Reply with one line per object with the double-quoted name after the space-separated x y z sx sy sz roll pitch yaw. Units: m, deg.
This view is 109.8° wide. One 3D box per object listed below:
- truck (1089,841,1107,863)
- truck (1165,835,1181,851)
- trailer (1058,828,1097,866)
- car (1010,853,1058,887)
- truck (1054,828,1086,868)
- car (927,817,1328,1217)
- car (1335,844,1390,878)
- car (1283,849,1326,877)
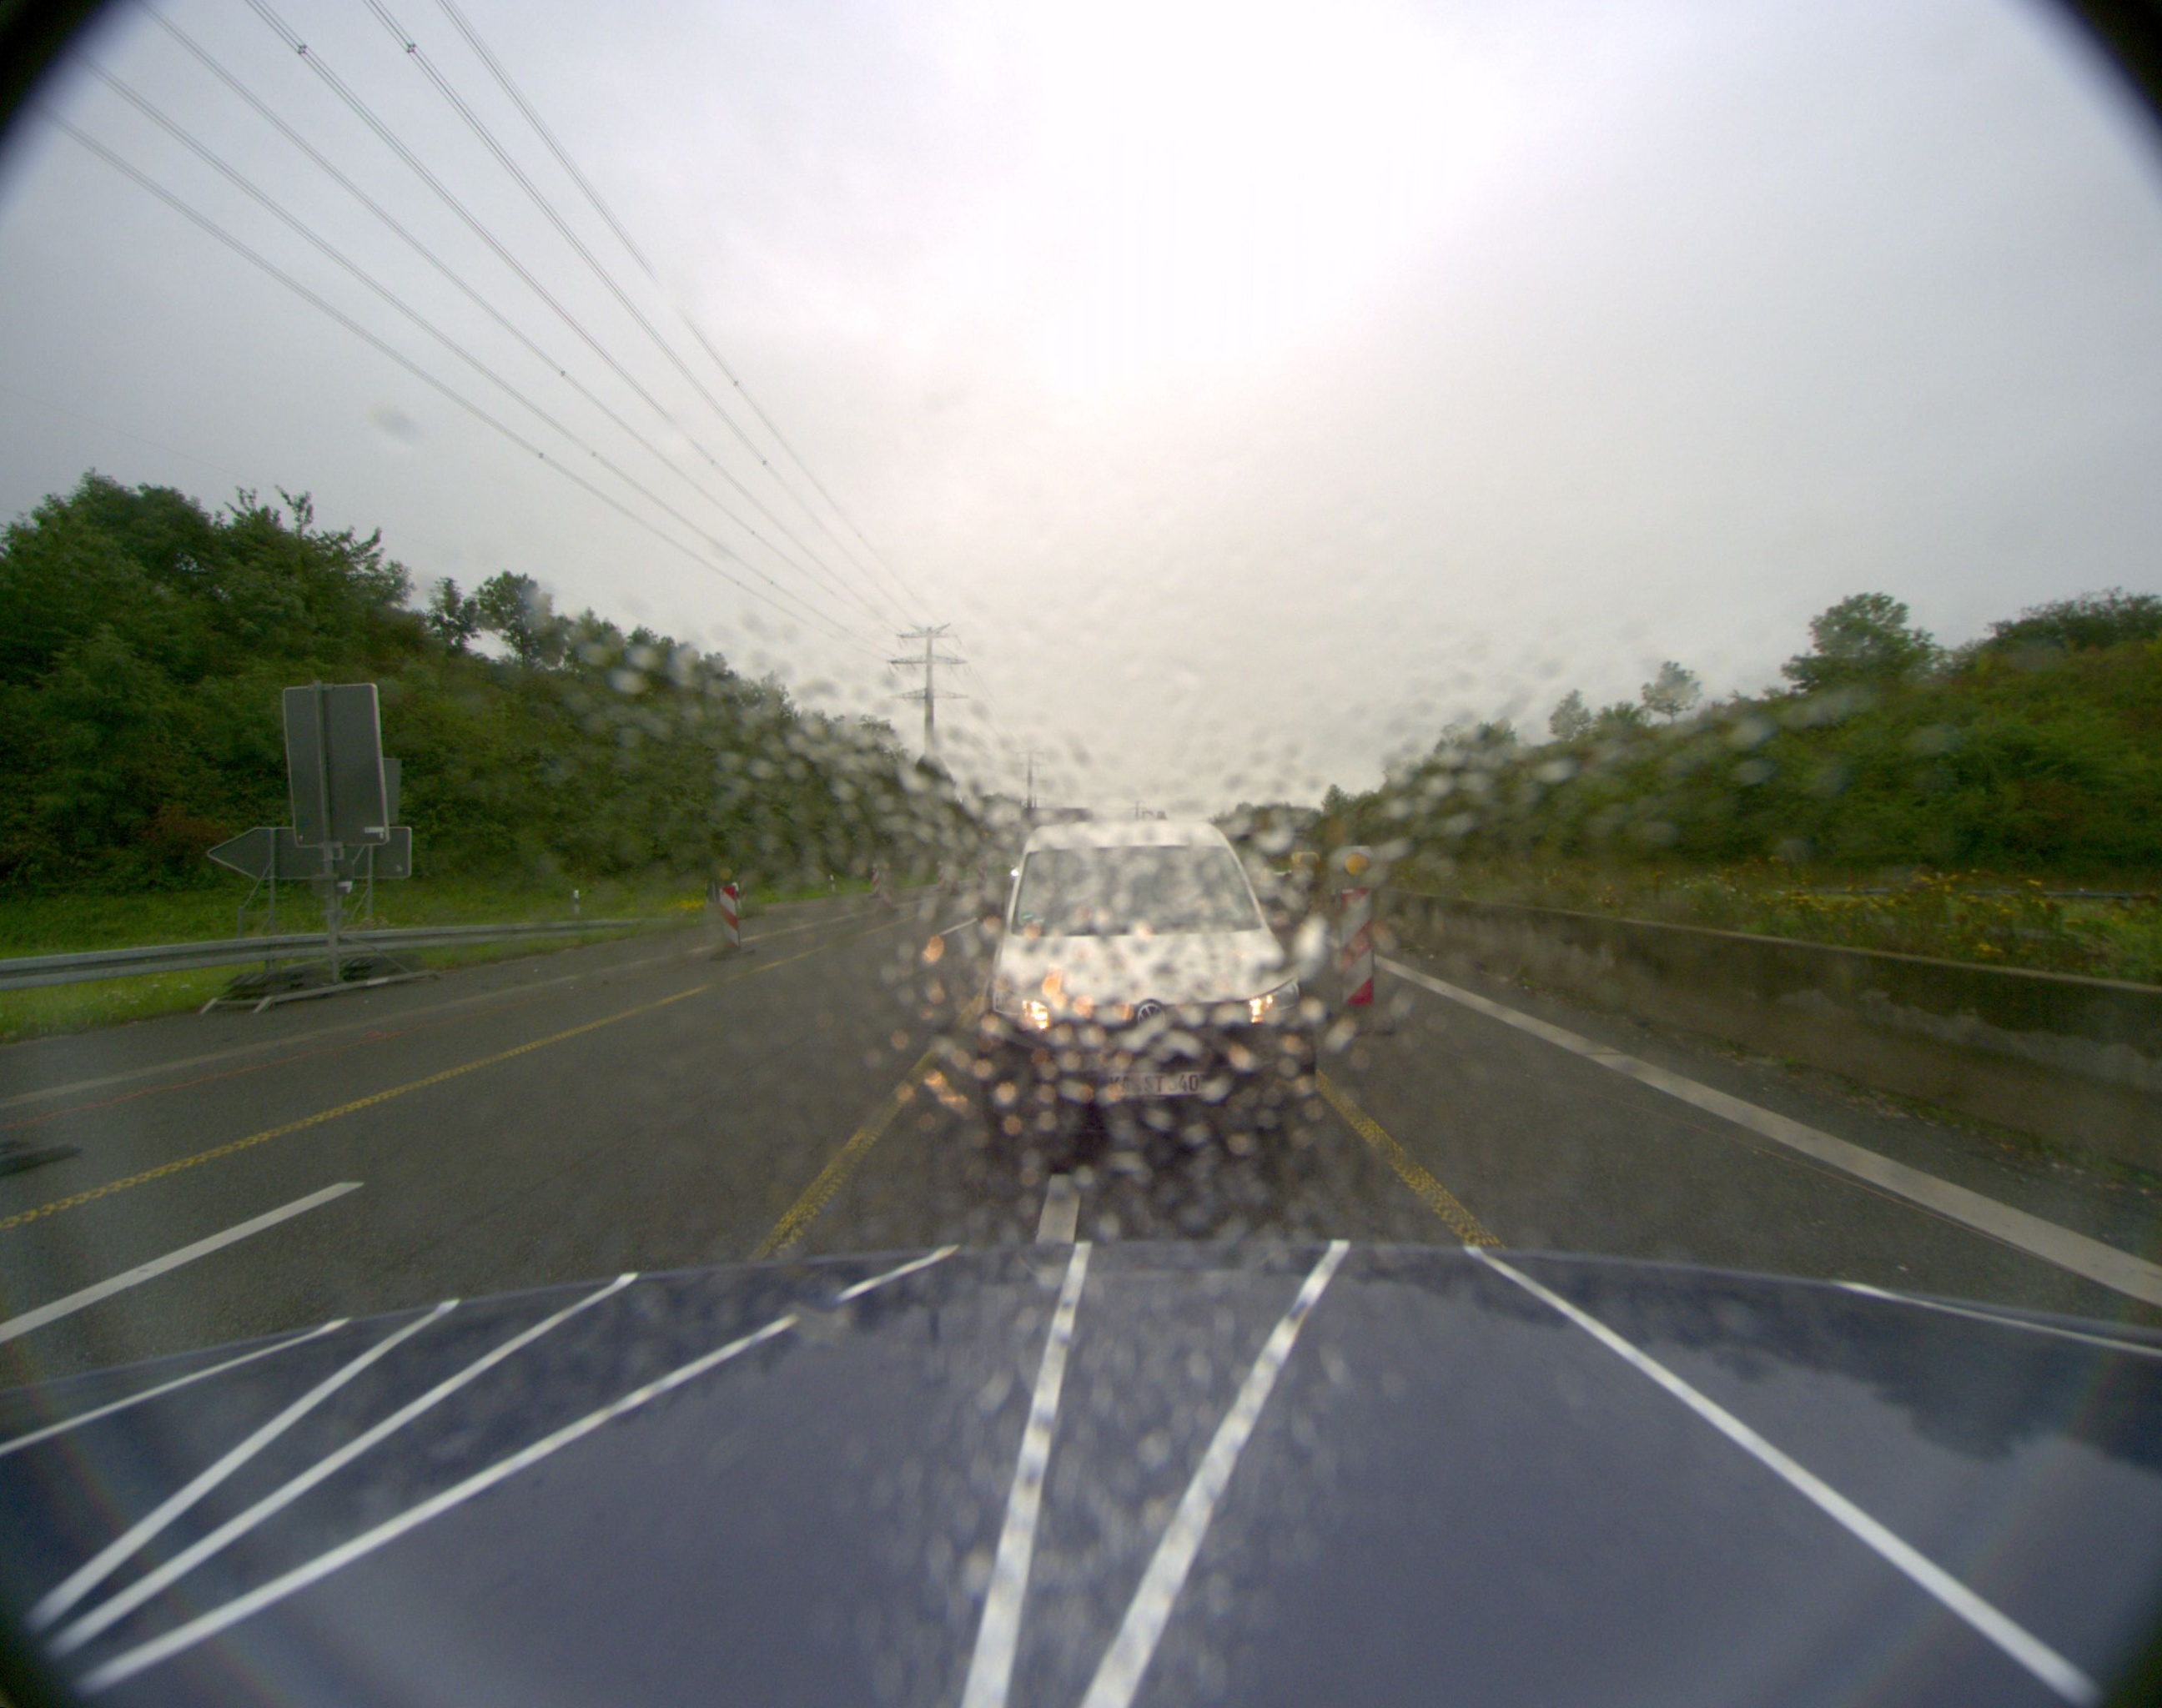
3.126 -0.348 140.621 2.747 3.912 5.399 -2 1 6 "truck"
27.887 -3.306 230.665 3.414 4.498 17.288 -1 1 3 "truck"
-0.222 -0.806 84.147 2.524 3.812 12.356 -2 1 8 "trailer"
-2.414 0.786 40.637 2.051 1.587 5.801 -2 0 1 "car"
-1.058 -0.652 78.004 2.552 3.924 4.002 -2 1 8 "truck"
0.237 0.747 5.808 1.770 1.774 4.647 -2 0 1 "car"
20.811 0.517 56.535 2.245 2.426 5.885 0 0 4 "car"
16.901 0.667 57.692 1.998 2.035 4.779 0 0 2 "car"
